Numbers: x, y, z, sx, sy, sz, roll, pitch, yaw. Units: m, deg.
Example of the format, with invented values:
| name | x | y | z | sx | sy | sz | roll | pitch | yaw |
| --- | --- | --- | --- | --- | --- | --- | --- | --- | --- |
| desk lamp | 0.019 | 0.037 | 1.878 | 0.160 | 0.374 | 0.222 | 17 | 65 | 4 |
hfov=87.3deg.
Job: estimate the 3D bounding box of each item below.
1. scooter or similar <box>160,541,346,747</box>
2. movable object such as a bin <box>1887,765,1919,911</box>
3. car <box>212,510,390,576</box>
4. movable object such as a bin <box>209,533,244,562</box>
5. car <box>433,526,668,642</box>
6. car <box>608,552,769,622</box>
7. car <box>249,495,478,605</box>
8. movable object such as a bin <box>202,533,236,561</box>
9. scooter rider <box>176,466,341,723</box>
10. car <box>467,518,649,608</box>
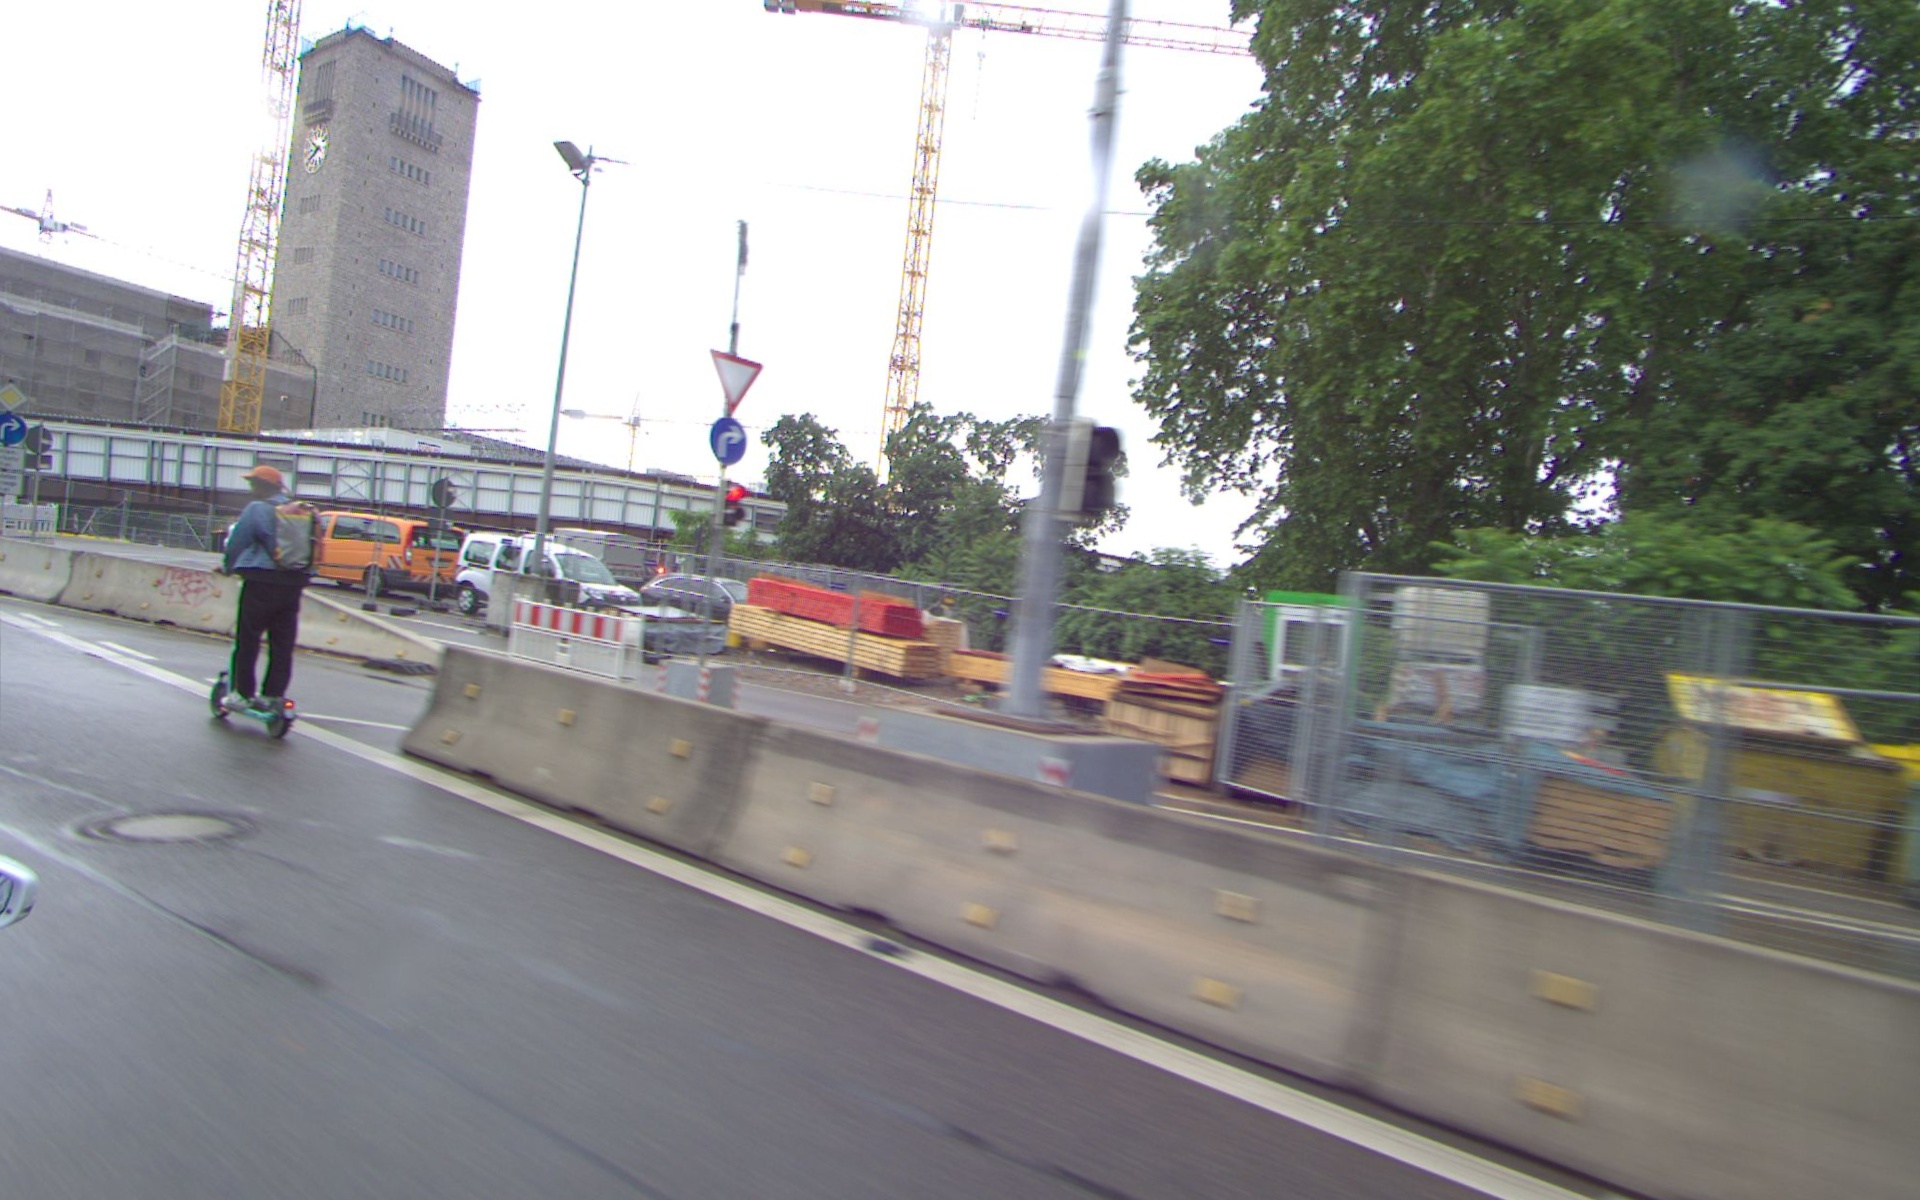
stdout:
| name | x | y | z | sx | sy | sz | roll | pitch | yaw |
| --- | --- | --- | --- | --- | --- | --- | --- | --- | --- |
| scooter or similar | -5.373 | 0.296 | 7.605 | 1.642 | 1.335 | 0.597 | 6 | 0 | 38 |
| movable object such as a bin | 9.937 | 2.398 | 9.728 | 1.173 | 1.361 | 1.249 | 8 | 0 | -44 |
| car | -20.039 | -1.689 | 30.799 | 1.781 | 1.470 | 4.213 | 8 | 1 | 22 |
| movable object such as a bin | -31.522 | -2.249 | 43.244 | 0.735 | 1.116 | 0.990 | 5 | 1 | 35 |
| car | -9.179 | -0.369 | 22.471 | 4.996 | 1.828 | 1.851 | 8 | 0 | 26 |
| car | -7.406 | -0.352 | 27.476 | 3.928 | 1.579 | 1.763 | 4 | 0 | 23 |
| car | -14.530 | -1.215 | 24.501 | 5.067 | 1.999 | 1.918 | 7 | 0 | 21 |
| movable object such as a bin | -32.203 | -2.308 | 43.731 | 0.719 | 1.116 | 0.990 | 5 | 1 | 35 |
| scooter rider | -5.278 | -0.050 | 7.561 | 0.982 | 1.807 | 0.597 | 7 | 0 | 38 |
| car | -13.397 | -1.228 | 33.507 | 5.501 | 2.343 | 2.050 | 7 | 1 | 20 |
